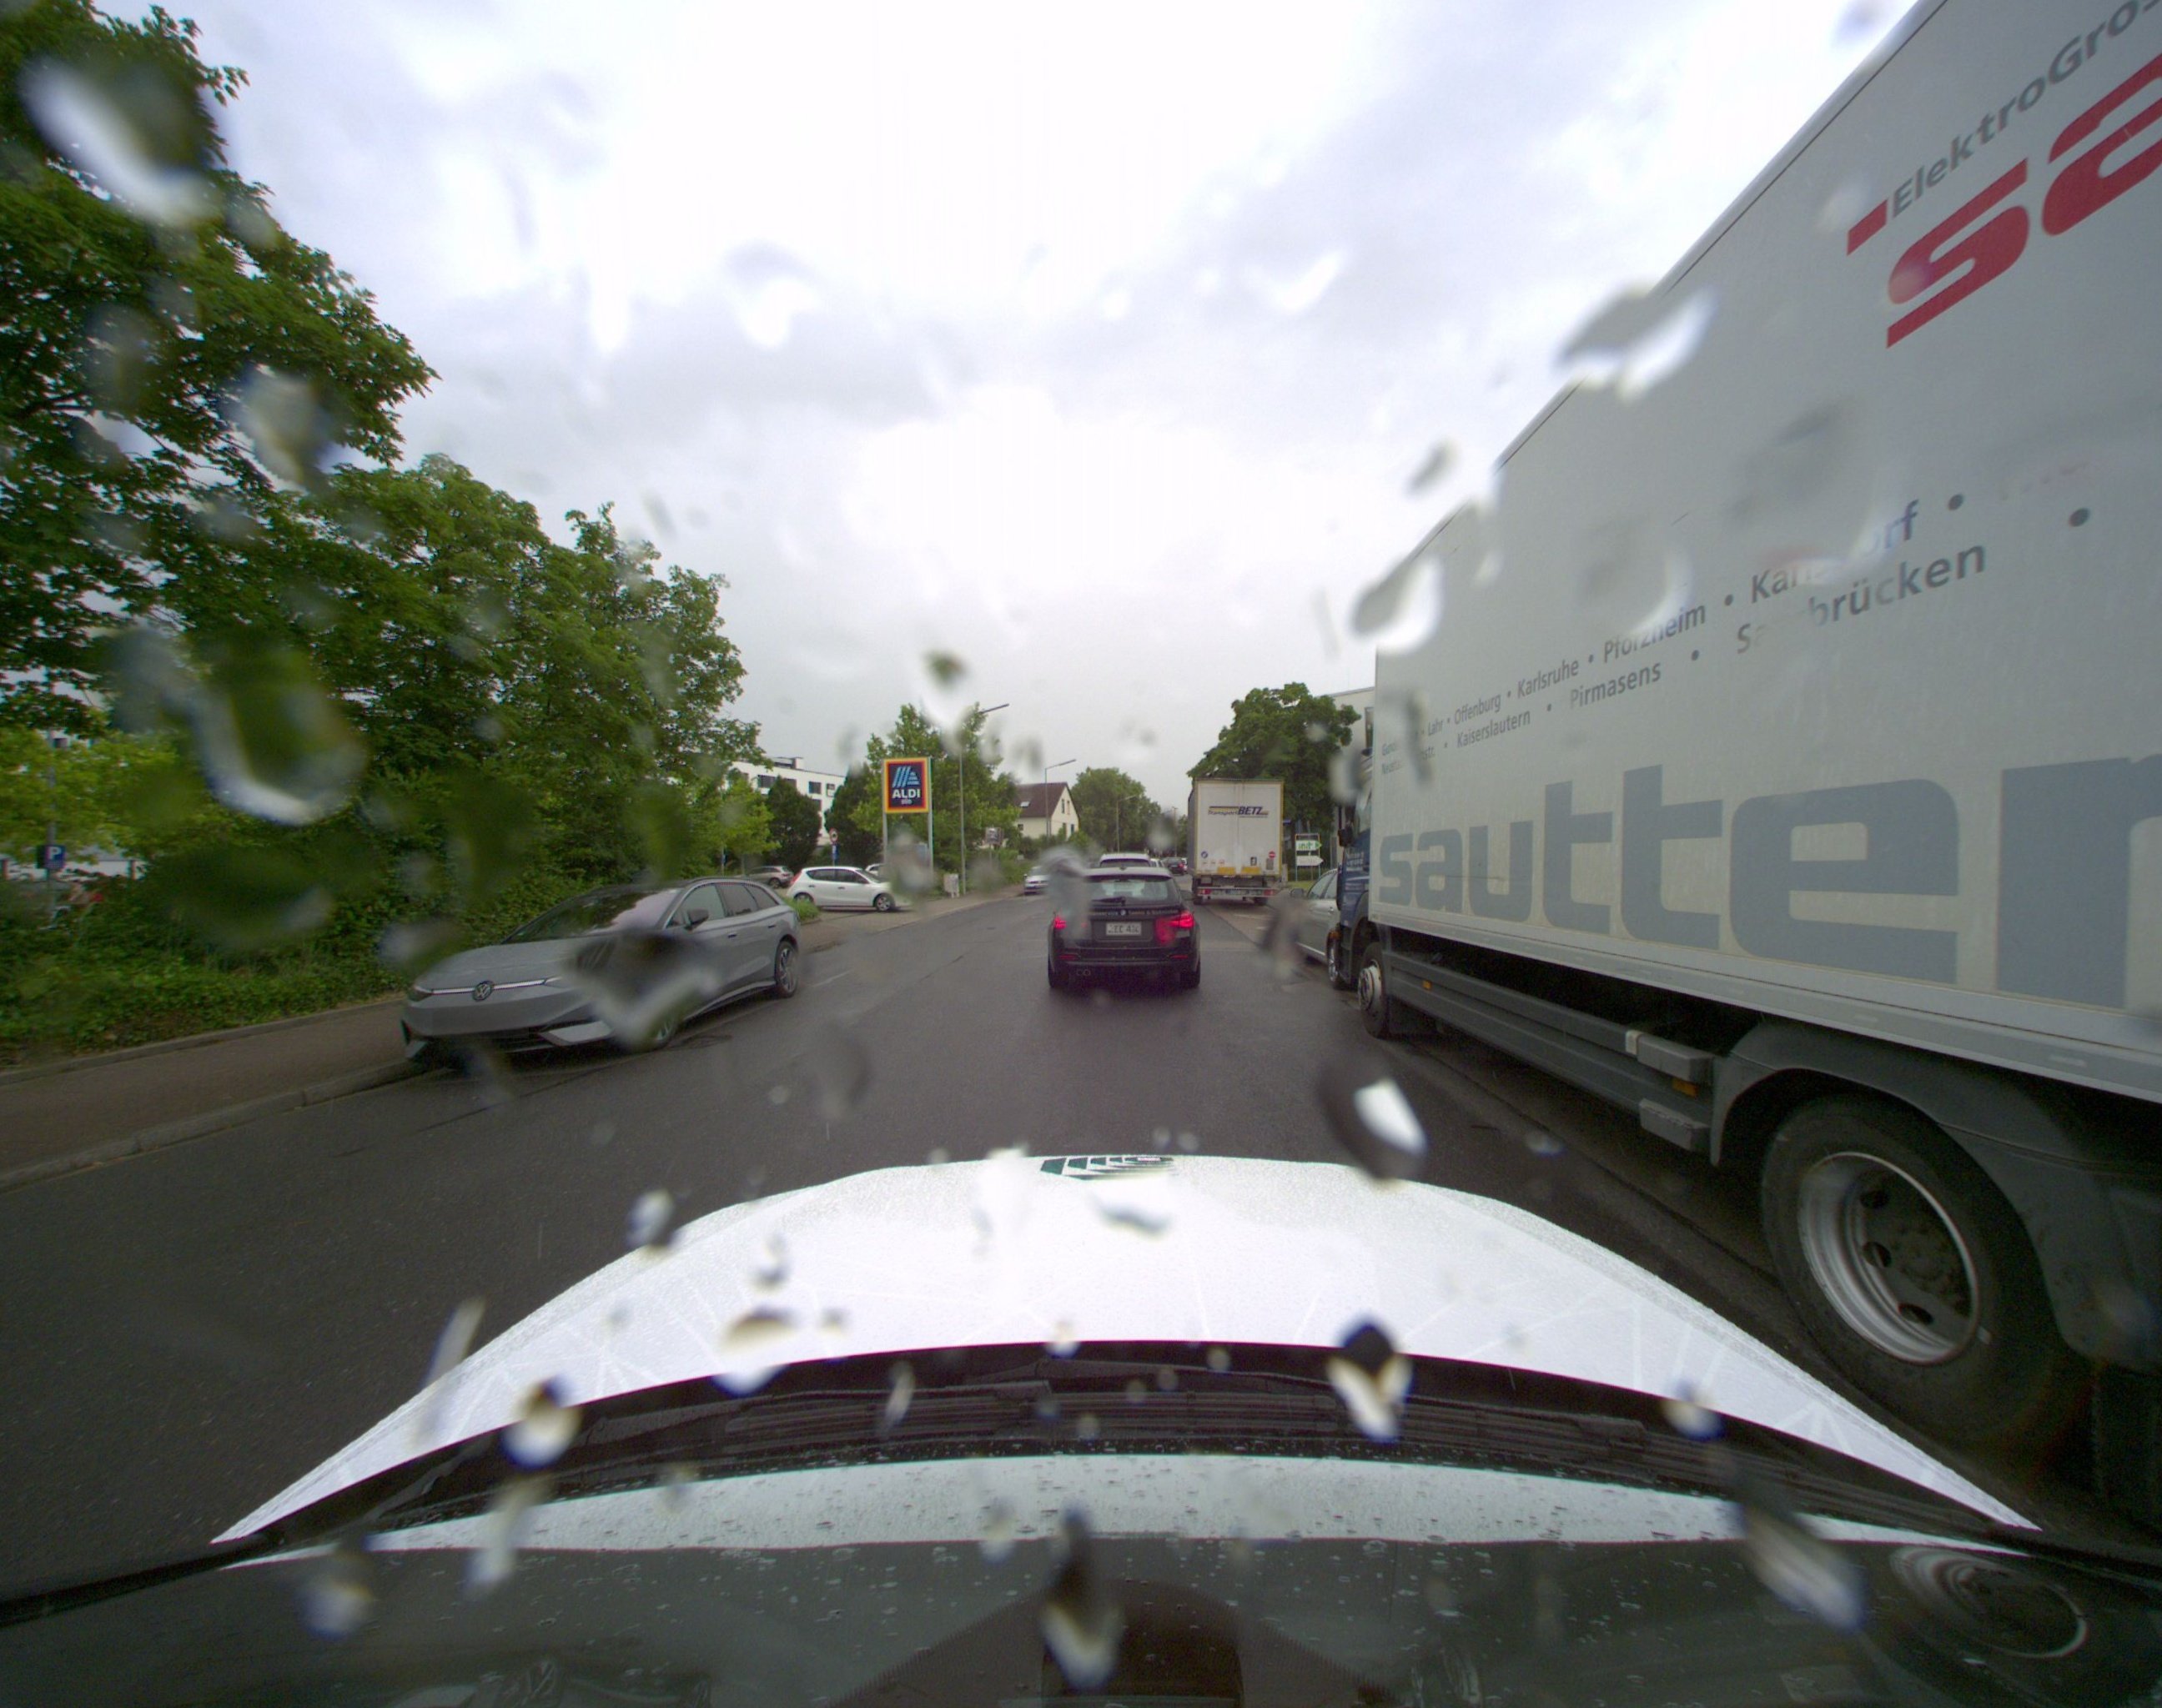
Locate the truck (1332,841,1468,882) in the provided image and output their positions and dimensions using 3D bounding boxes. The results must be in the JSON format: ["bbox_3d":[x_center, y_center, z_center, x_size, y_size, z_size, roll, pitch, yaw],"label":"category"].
[{"bbox_3d":[18.120,0.420,46.533,6.893,2.140,2.096,-1,-1,3],"label":"truck"}]

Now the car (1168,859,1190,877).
[{"bbox_3d":[9.382,1.328,77.659,1.793,1.587,4.011,-1,-1,10],"label":"car"}]

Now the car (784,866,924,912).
[{"bbox_3d":[-7.525,1.139,27.255,4.177,1.460,1.712,0,-1,-1],"label":"car"}]

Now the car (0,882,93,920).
[{"bbox_3d":[-41.017,1.818,31.231,3.972,1.335,1.856,-1,-1,1],"label":"car"}]

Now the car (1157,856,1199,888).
[{"bbox_3d":[5.415,1.010,45.928,1.986,1.684,4.001,0,-1,2],"label":"car"}]

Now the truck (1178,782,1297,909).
[{"bbox_3d":[4.959,-0.213,27.240,2.730,3.611,7.753,1,-1,2],"label":"truck"}]

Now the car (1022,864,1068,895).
[{"bbox_3d":[-1.786,1.262,41.737,1.698,1.367,4.606,-4,-1,4],"label":"car"}]

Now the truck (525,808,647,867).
[{"bbox_3d":[-24.402,-0.748,40.521,1.986,2.657,6.399,-1,-1,2],"label":"truck"}]

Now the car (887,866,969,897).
[{"bbox_3d":[-7.388,1.311,39.532,3.554,1.460,1.714,0,-1,3],"label":"car"}]

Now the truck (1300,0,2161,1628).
[{"bbox_3d":[3.497,-0.429,3.926,2.730,3.789,9.305,1,-1,3],"label":"truck"}]

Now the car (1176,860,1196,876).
[{"bbox_3d":[11.048,1.478,85.535,1.793,1.587,4.011,-1,-1,10],"label":"car"}]

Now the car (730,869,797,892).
[{"bbox_3d":[-22.784,1.893,58.575,3.969,1.499,2.002,-1,-1,4],"label":"car"}]

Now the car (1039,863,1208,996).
[{"bbox_3d":[0.474,0.836,10.689,1.798,1.395,4.000,0,-1,0],"label":"car"}]

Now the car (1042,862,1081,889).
[{"bbox_3d":[-1.098,1.244,47.689,1.697,1.367,3.844,-4,-1,6],"label":"car"}]

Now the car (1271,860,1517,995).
[{"bbox_3d":[3.939,0.832,11.120,1.790,1.441,4.346,-1,-1,2],"label":"car"}]

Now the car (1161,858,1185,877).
[{"bbox_3d":[8.117,1.207,71.290,1.793,1.587,4.011,-1,-1,10],"label":"car"}]

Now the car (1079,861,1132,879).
[{"bbox_3d":[2.010,1.314,66.086,4.169,1.363,1.590,-1,-1,3],"label":"car"}]

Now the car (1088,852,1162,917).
[{"bbox_3d":[1.095,0.785,21.967,1.798,1.587,4.000,0,-1,0],"label":"car"}]

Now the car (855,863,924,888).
[{"bbox_3d":[-12.519,1.386,53.464,3.970,1.540,1.912,-1,-1,3],"label":"car"}]

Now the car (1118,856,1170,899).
[{"bbox_3d":[2.533,0.892,32.018,1.794,1.587,4.009,-1,-1,8],"label":"car"}]

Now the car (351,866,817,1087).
[{"bbox_3d":[-4.582,0.975,8.608,1.802,1.528,4.749,-5,-1,1],"label":"car"}]
